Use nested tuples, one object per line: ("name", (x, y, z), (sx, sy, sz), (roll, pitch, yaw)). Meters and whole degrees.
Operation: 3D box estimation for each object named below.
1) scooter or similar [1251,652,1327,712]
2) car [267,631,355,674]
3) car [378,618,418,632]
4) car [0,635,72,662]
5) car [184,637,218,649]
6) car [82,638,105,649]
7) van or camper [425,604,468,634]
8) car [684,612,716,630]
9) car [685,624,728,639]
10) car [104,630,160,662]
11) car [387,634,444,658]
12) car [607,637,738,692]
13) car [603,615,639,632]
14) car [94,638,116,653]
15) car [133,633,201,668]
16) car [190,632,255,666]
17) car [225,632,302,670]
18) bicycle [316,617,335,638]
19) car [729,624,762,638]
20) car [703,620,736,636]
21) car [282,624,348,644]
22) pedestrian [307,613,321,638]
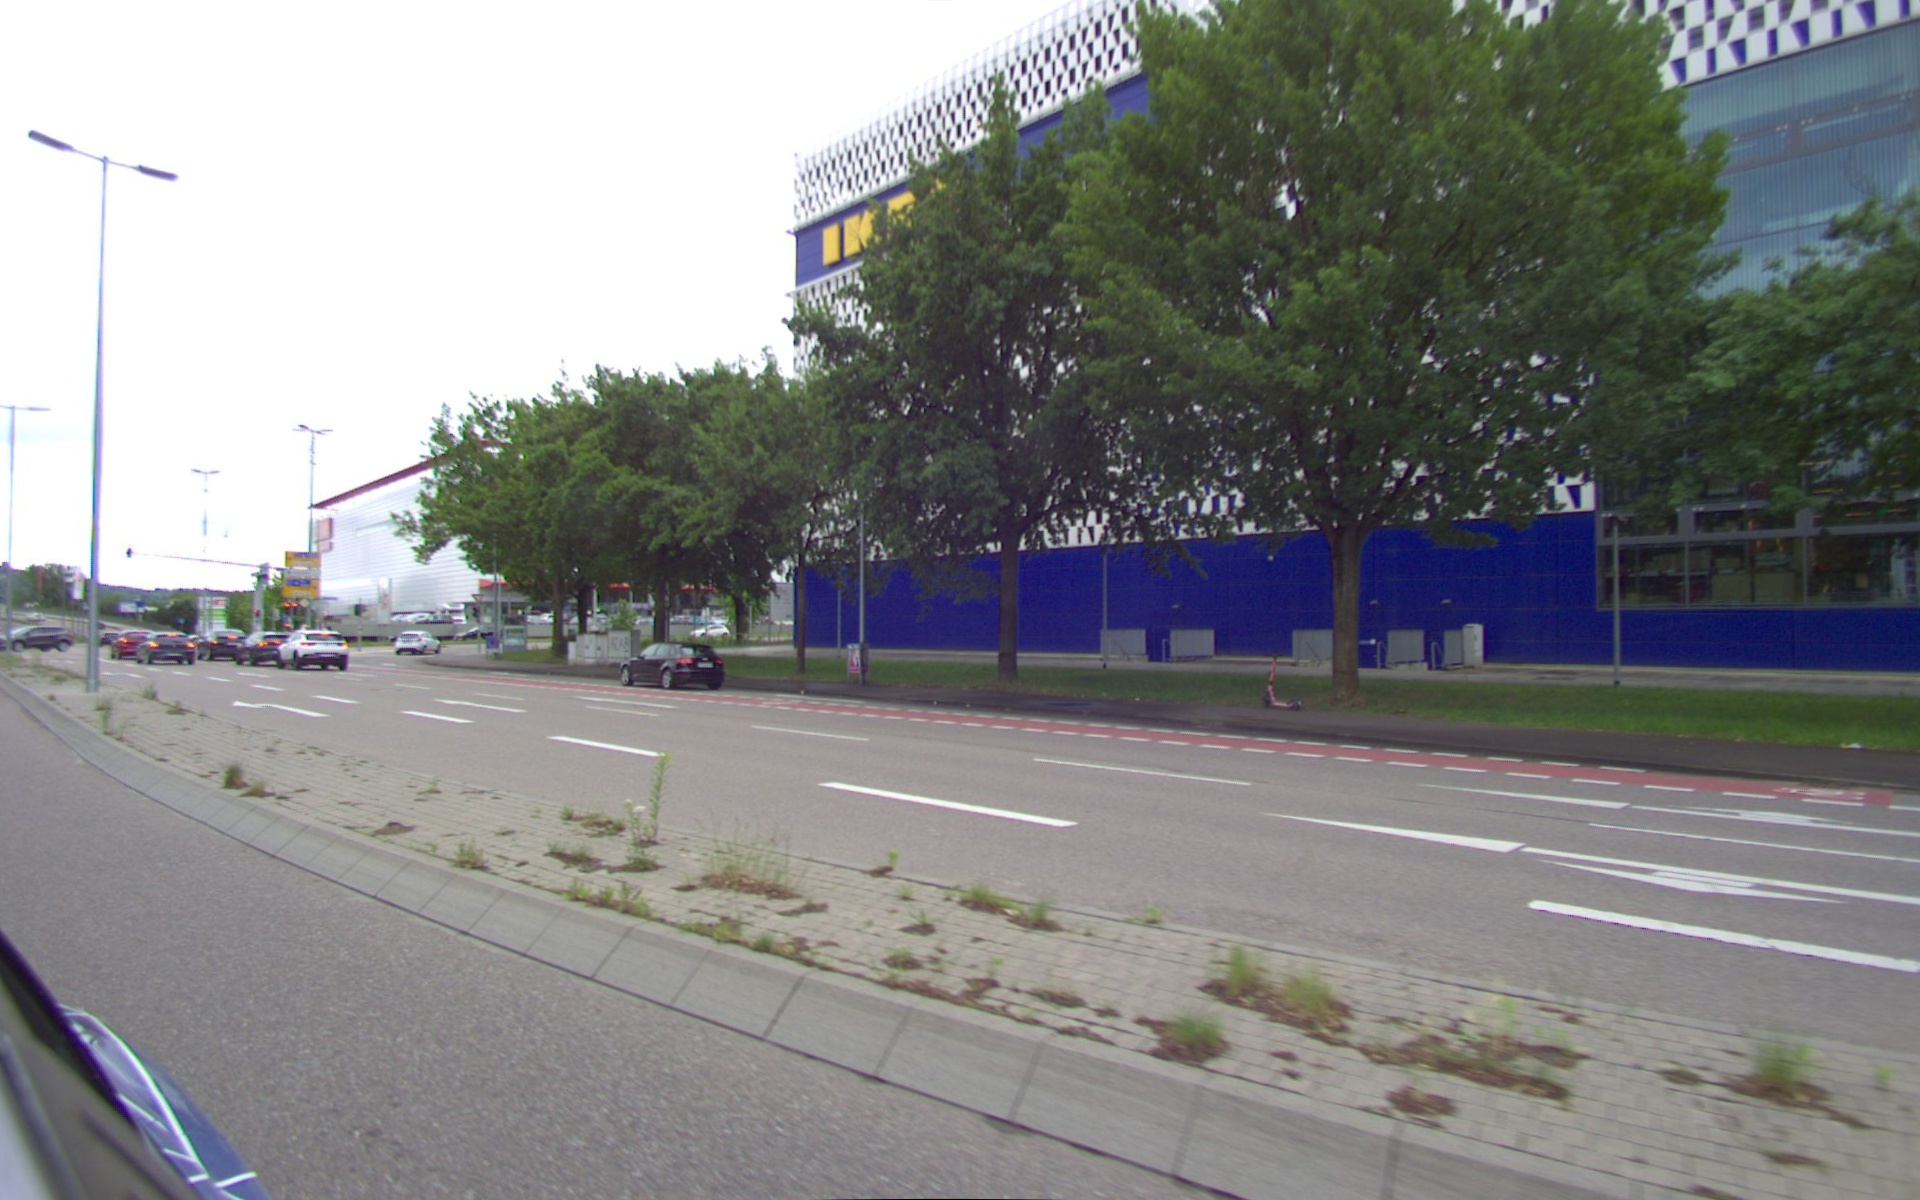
("scooter or similar", (6.957, 1.715, 21.426), (1.377, 1.205, 0.648), (-3, -2, 42))
("car", (-26.687, 2.168, 41.569), (4.578, 1.607, 1.971), (-3, -6, 44))
("car", (-72.958, 3.199, 131.460), (4.195, 1.688, 1.779), (0, -3, -43))
("car", (-60.248, 3.132, 65.246), (1.795, 1.586, 4.177), (-4, -3, 29))
("car", (-114.690, 6.447, 152.964), (4.130, 1.622, 1.726), (0, -3, -38))
("car", (-115.640, 5.805, 135.033), (4.876, 1.422, 1.792), (-4, -4, 42))
("van or camper", (-60.516, 2.255, 119.240), (2.673, 3.159, 7.244), (0, -3, -42))
("car", (-31.868, 2.608, 123.969), (1.970, 2.029, 4.002), (0, -3, -44))
("car", (-27.211, 3.413, 108.795), (4.154, 1.426, 1.805), (0, -3, -43))
("car", (-42.303, 2.339, 51.701), (4.080, 1.499, 1.715), (0, -2, 44))
("car", (-34.794, 2.948, 64.791), (1.833, 1.473, 4.340), (1, -3, -9))
("car", (-8.825, 1.948, 30.926), (4.252, 1.513, 1.897), (-1, -4, 43))
("car", (-44.471, 3.109, 132.693), (3.941, 2.029, 2.001), (0, -3, -45))
("car", (-94.544, 5.052, 111.846), (1.669, 1.540, 3.930), (0, -3, -43))
("car", (-35.630, 2.271, 45.441), (4.333, 1.473, 1.836), (-3, -5, 45))
("car", (-38.222, 2.525, 52.423), (4.333, 1.650, 1.860), (-1, -5, 43))
("car", (-31.371, 2.263, 45.535), (4.598, 1.556, 1.860), (-1, -3, 43))
("bicycle", (-42.477, 1.837, 67.750), (0.587, 1.407, 1.940), (1, -2, -19))
("car", (-29.506, 4.245, 139.109), (3.941, 1.807, 1.892), (0, -3, -45))
("car", (-33.662, 3.929, 141.679), (3.941, 2.029, 2.001), (0, -3, -45))
("car", (-50.963, 2.706, 80.016), (4.154, 1.426, 1.805), (0, -3, -43))
("pedestrian", (-43.034, 1.710, 67.448), (0.630, 1.639, 0.694), (1, -1, -19))
